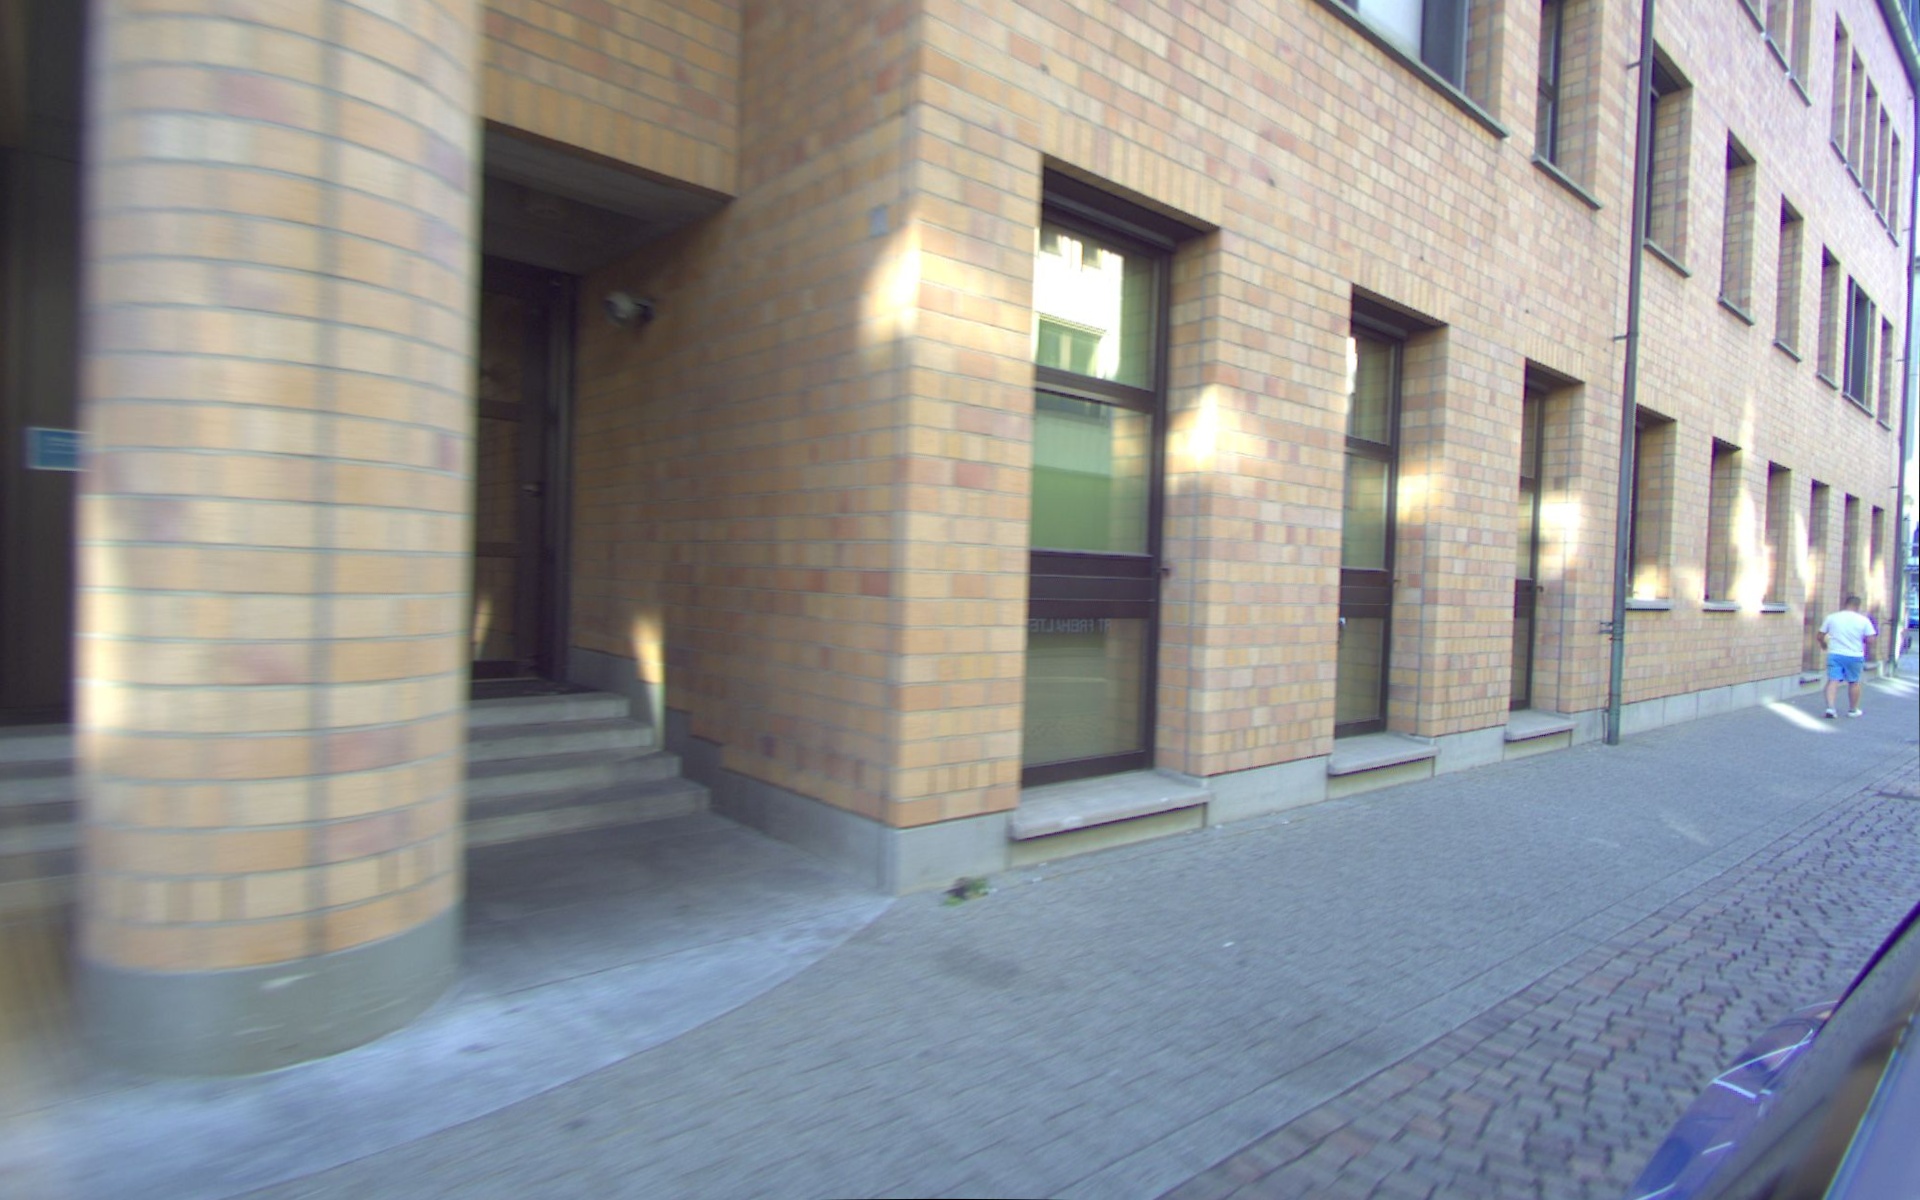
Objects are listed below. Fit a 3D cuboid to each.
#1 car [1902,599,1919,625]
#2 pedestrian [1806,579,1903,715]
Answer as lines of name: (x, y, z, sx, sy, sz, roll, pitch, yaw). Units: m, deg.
car: (61.975, 0.829, 64.756, 1.845, 1.613, 3.759, 4, 1, 34)
pedestrian: (12.196, 0.615, 13.802, 0.807, 1.737, 0.762, 1, 3, -40)
